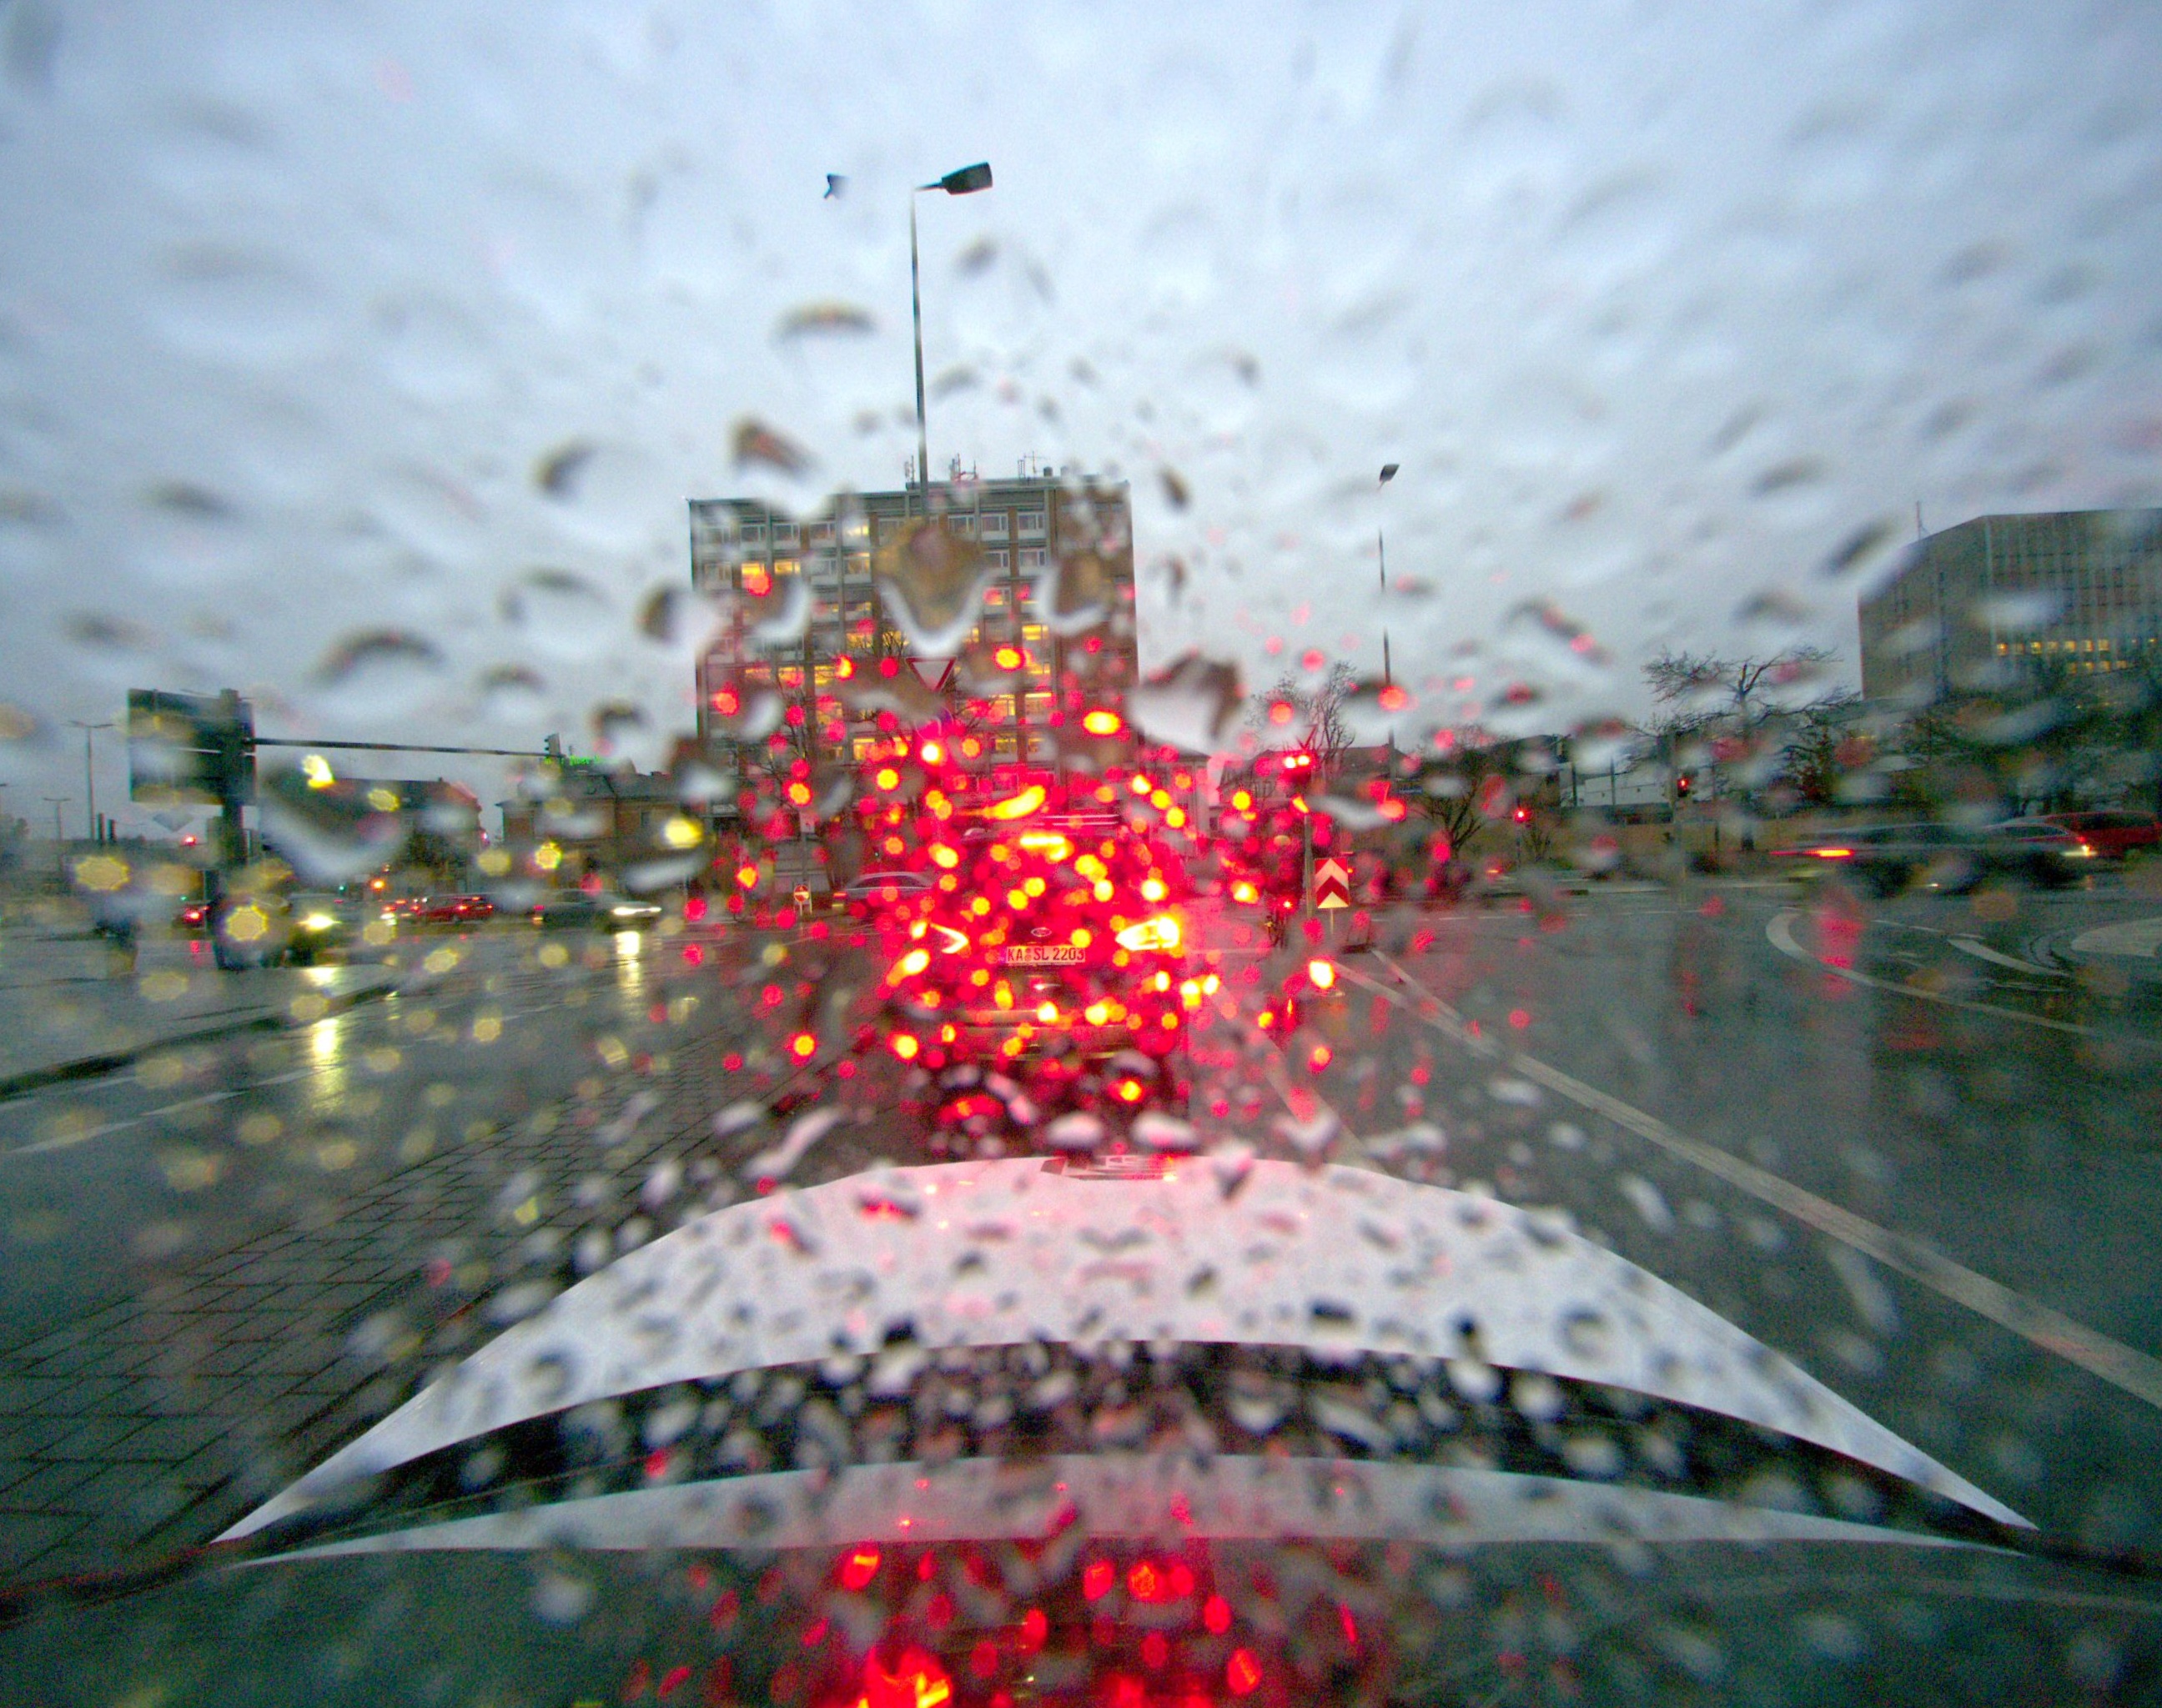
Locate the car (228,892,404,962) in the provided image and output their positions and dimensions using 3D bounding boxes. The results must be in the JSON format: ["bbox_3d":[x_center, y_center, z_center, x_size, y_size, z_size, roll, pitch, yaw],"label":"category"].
[{"bbox_3d":[-20.462,1.951,21.796,3.953,1.577,1.784,-3,0,20],"label":"car"}]

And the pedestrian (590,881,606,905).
[{"bbox_3d":[-34.077,2.741,57.420,0.633,1.688,0.641,-3,0,25],"label":"pedestrian"}]

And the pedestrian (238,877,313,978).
[{"bbox_3d":[-17.278,1.549,17.500,0.996,2.021,0.792,-3,0,-39],"label":"pedestrian"}]

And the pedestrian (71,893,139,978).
[{"bbox_3d":[-21.401,1.782,17.863,0.738,1.770,0.548,-3,0,2],"label":"pedestrian"}]

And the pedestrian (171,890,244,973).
[{"bbox_3d":[-19.543,1.712,18.229,0.653,1.755,0.856,-3,0,18],"label":"pedestrian"}]

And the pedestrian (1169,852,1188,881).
[{"bbox_3d":[5.246,0.663,43.754,0.920,1.533,1.045,-3,0,6],"label":"pedestrian"}]

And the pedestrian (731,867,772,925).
[{"bbox_3d":[-12.003,1.519,29.679,0.922,1.978,0.962,-3,0,8],"label":"pedestrian"}]

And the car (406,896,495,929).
[{"bbox_3d":[-33.337,3.056,43.072,3.954,1.568,1.836,-1,-1,20],"label":"car"}]

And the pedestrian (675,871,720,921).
[{"bbox_3d":[-15.426,1.686,32.762,0.992,1.842,1.146,-3,2,29],"label":"pedestrian"}]

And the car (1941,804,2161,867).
[{"bbox_3d":[34.565,-0.619,29.034,5.295,1.880,2.051,-3,-1,4],"label":"car"}]

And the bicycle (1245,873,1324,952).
[{"bbox_3d":[3.088,0.853,12.531,0.780,1.075,1.958,0,-1,2],"label":"bicycle"}]

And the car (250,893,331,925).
[{"bbox_3d":[-51.167,3.532,52.766,1.649,1.826,3.609,-1,-1,39],"label":"car"}]

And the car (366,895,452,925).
[{"bbox_3d":[-38.411,3.176,46.615,1.496,1.461,3.453,-1,-1,31],"label":"car"}]

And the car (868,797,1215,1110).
[{"bbox_3d":[-0.170,0.589,6.684,1.986,1.789,4.001,0,-1,2],"label":"car"}]

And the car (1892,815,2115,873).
[{"bbox_3d":[27.979,-0.288,24.840,4.390,1.477,1.814,-3,-1,6],"label":"car"}]

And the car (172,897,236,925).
[{"bbox_3d":[-54.596,3.501,50.684,3.949,1.568,1.838,-1,-1,29],"label":"car"}]

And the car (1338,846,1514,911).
[{"bbox_3d":[9.038,0.640,21.638,3.930,1.477,1.816,-3,-1,10],"label":"car"}]

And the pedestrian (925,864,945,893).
[{"bbox_3d":[-8.512,1.443,47.484,0.753,1.628,0.725,-3,0,22],"label":"pedestrian"}]

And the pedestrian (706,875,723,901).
[{"bbox_3d":[-24.174,2.248,53.695,0.754,1.628,0.560,-3,0,16],"label":"pedestrian"}]

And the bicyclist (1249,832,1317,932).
[{"bbox_3d":[3.070,0.415,12.489,0.780,1.453,1.134,0,-1,2],"label":"bicyclist"}]

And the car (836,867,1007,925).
[{"bbox_3d":[-4.772,1.245,24.566,4.623,1.477,1.818,-3,-1,13],"label":"car"}]

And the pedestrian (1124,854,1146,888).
[{"bbox_3d":[3.008,0.938,45.250,0.990,1.799,0.922,-3,0,10],"label":"pedestrian"}]

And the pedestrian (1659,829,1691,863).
[{"bbox_3d":[29.289,-0.376,40.139,0.956,1.603,0.796,-3,0,9],"label":"pedestrian"}]

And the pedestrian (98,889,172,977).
[{"bbox_3d":[-20.697,1.713,17.835,0.730,1.838,0.677,-3,0,2],"label":"pedestrian"}]

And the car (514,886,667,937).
[{"bbox_3d":[-16.918,1.968,28.105,4.620,1.477,1.819,-3,-1,16],"label":"car"}]

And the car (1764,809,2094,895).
[{"bbox_3d":[17.546,-0.019,17.102,4.549,1.477,1.816,-3,-1,10],"label":"car"}]
